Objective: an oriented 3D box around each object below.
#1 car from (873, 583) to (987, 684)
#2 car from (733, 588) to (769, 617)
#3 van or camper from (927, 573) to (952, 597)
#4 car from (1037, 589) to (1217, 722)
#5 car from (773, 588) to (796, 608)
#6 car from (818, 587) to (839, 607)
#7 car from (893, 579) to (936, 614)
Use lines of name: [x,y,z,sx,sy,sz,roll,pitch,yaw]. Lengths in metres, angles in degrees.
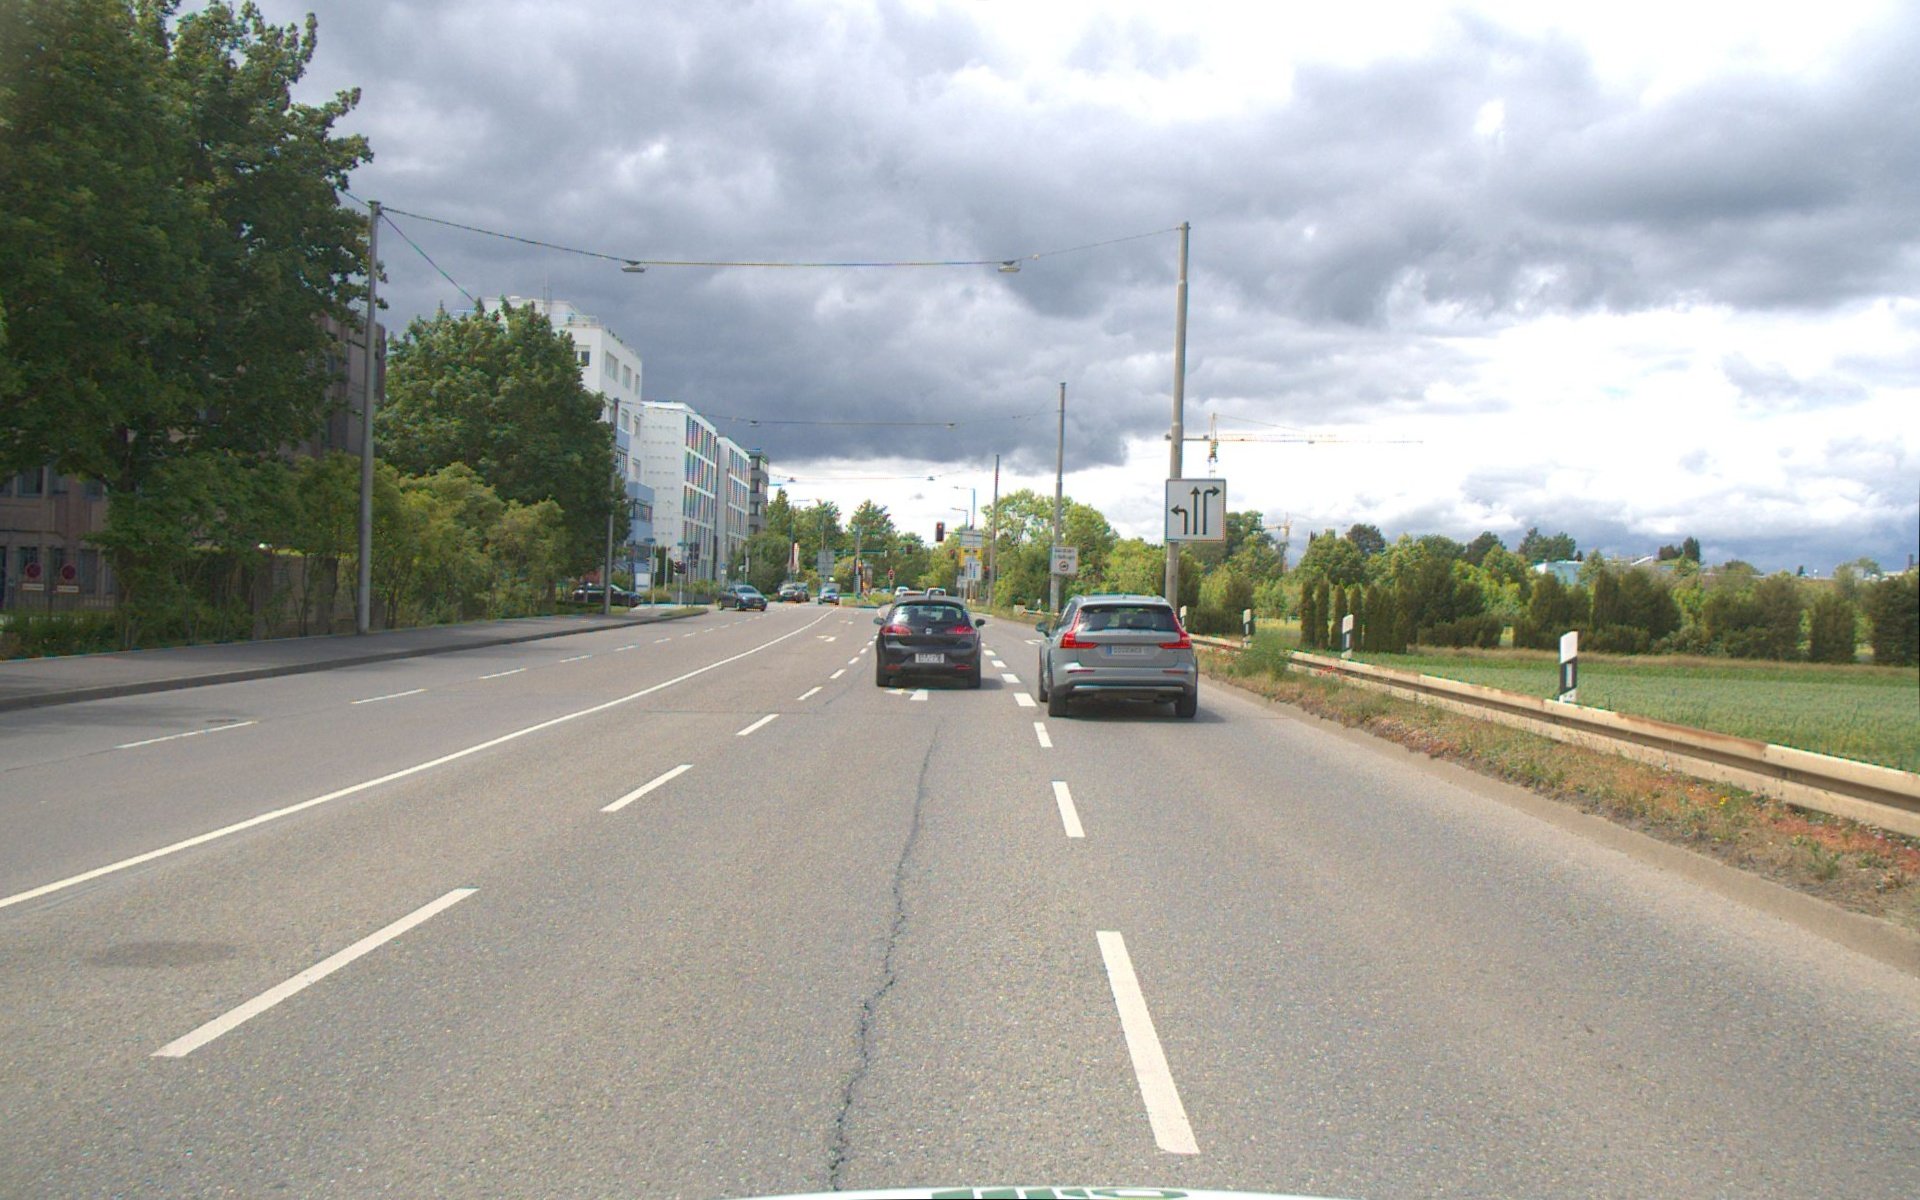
car: [-0.464,0.530,27.824,1.712,1.509,4.000,3,0,0]
car: [-12.778,0.146,101.170,1.761,1.612,4.311,5,0,-3]
van or camper: [-1.889,-1.375,151.150,1.863,1.959,3.995,4,-1,-6]
car: [2.068,0.656,21.588,1.918,1.552,4.340,0,0,0]
car: [-14.880,-0.180,140.257,1.716,1.659,3.997,0,0,-3]
car: [-10.995,-0.294,138.838,1.635,1.551,4.006,0,2,-3]
car: [-2.332,-0.213,83.966,1.944,1.617,4.223,2,1,-4]
